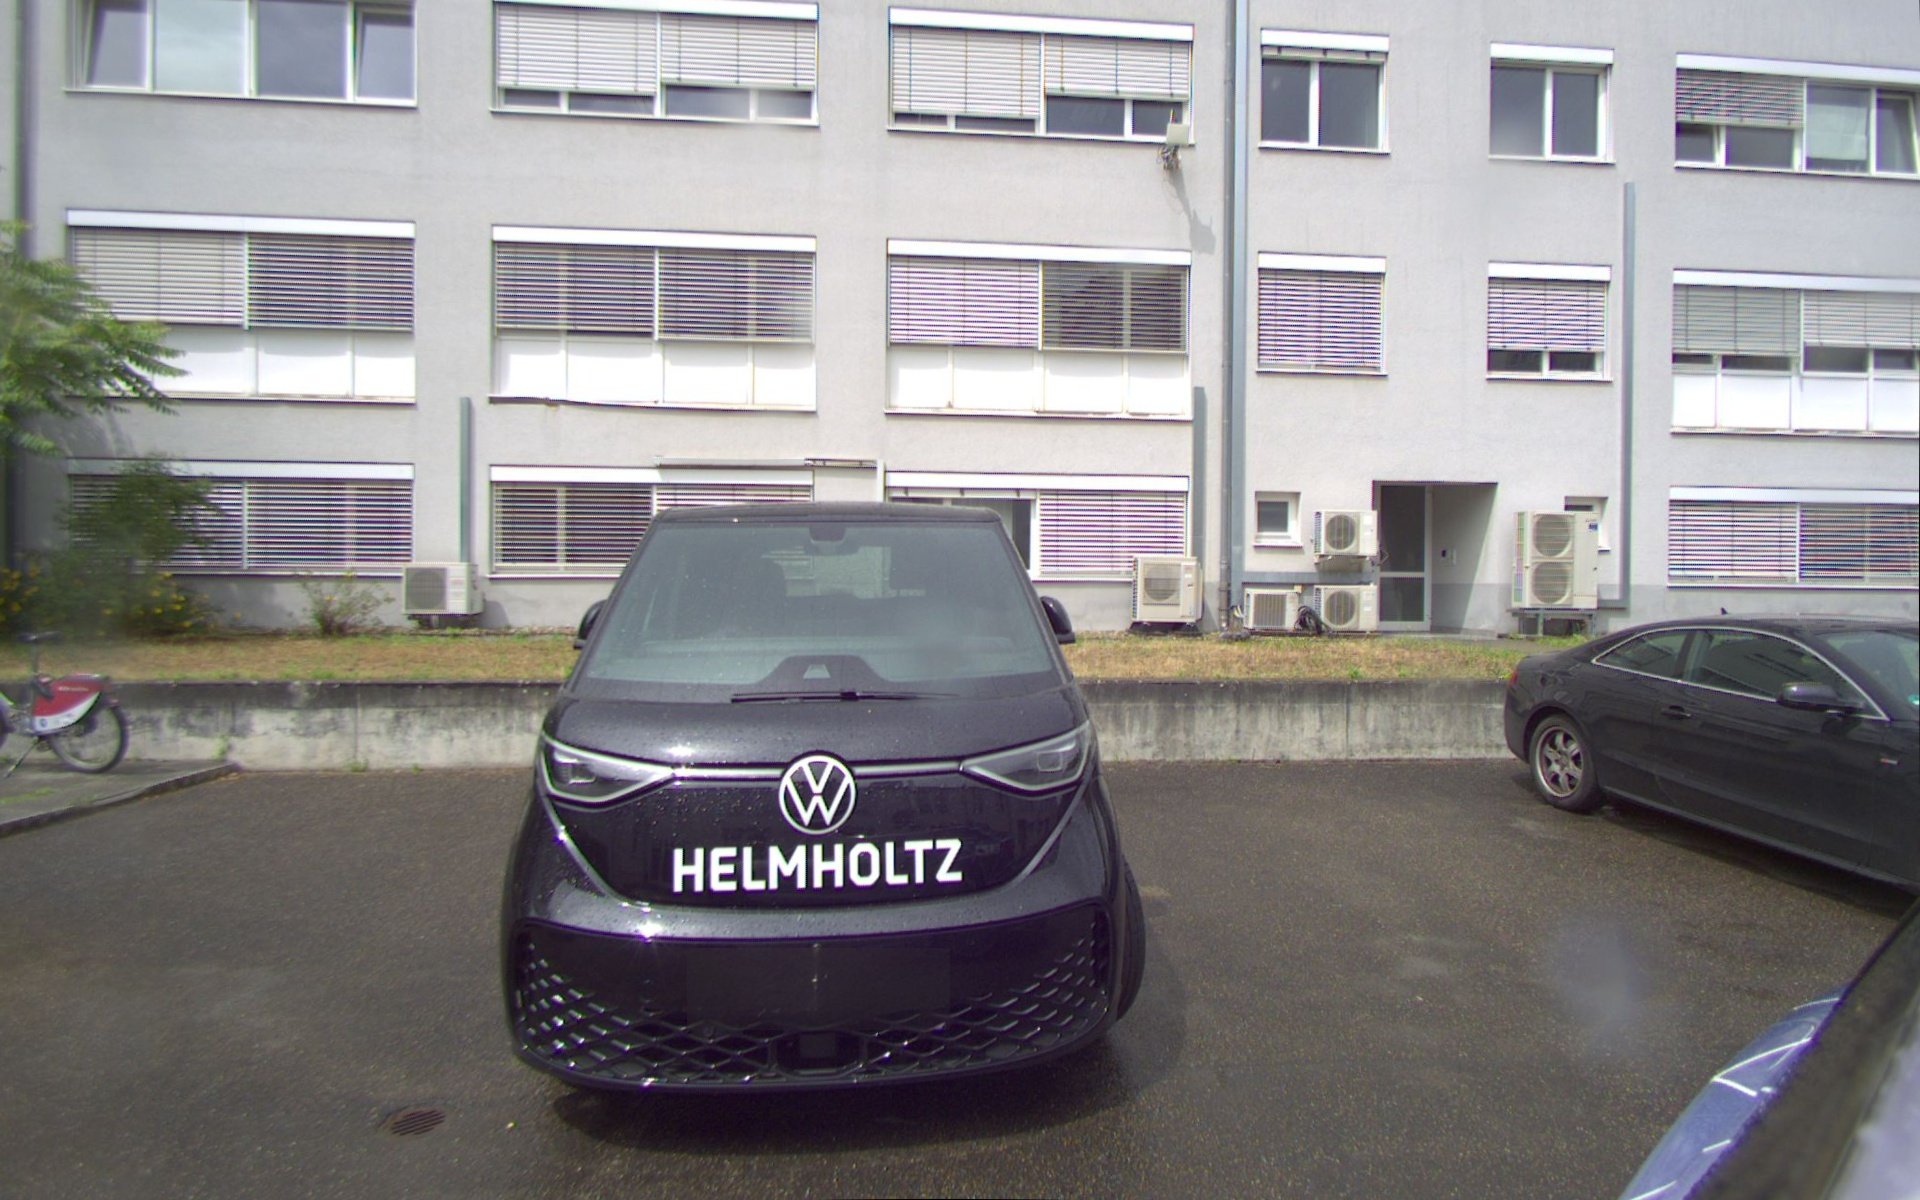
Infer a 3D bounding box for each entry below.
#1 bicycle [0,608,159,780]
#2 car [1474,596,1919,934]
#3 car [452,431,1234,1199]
[{"bbox_3d":[-6.643,0.633,7.040,1.762,1.117,0.447,1,3,-1],"label":"bicycle"},{"bbox_3d":[4.981,0.739,5.534,1.728,1.368,4.535,0,2,-5],"label":"car"},{"bbox_3d":[-0.509,0.452,4.901,1.931,1.888,4.755,0,2,-6],"label":"car"}]
